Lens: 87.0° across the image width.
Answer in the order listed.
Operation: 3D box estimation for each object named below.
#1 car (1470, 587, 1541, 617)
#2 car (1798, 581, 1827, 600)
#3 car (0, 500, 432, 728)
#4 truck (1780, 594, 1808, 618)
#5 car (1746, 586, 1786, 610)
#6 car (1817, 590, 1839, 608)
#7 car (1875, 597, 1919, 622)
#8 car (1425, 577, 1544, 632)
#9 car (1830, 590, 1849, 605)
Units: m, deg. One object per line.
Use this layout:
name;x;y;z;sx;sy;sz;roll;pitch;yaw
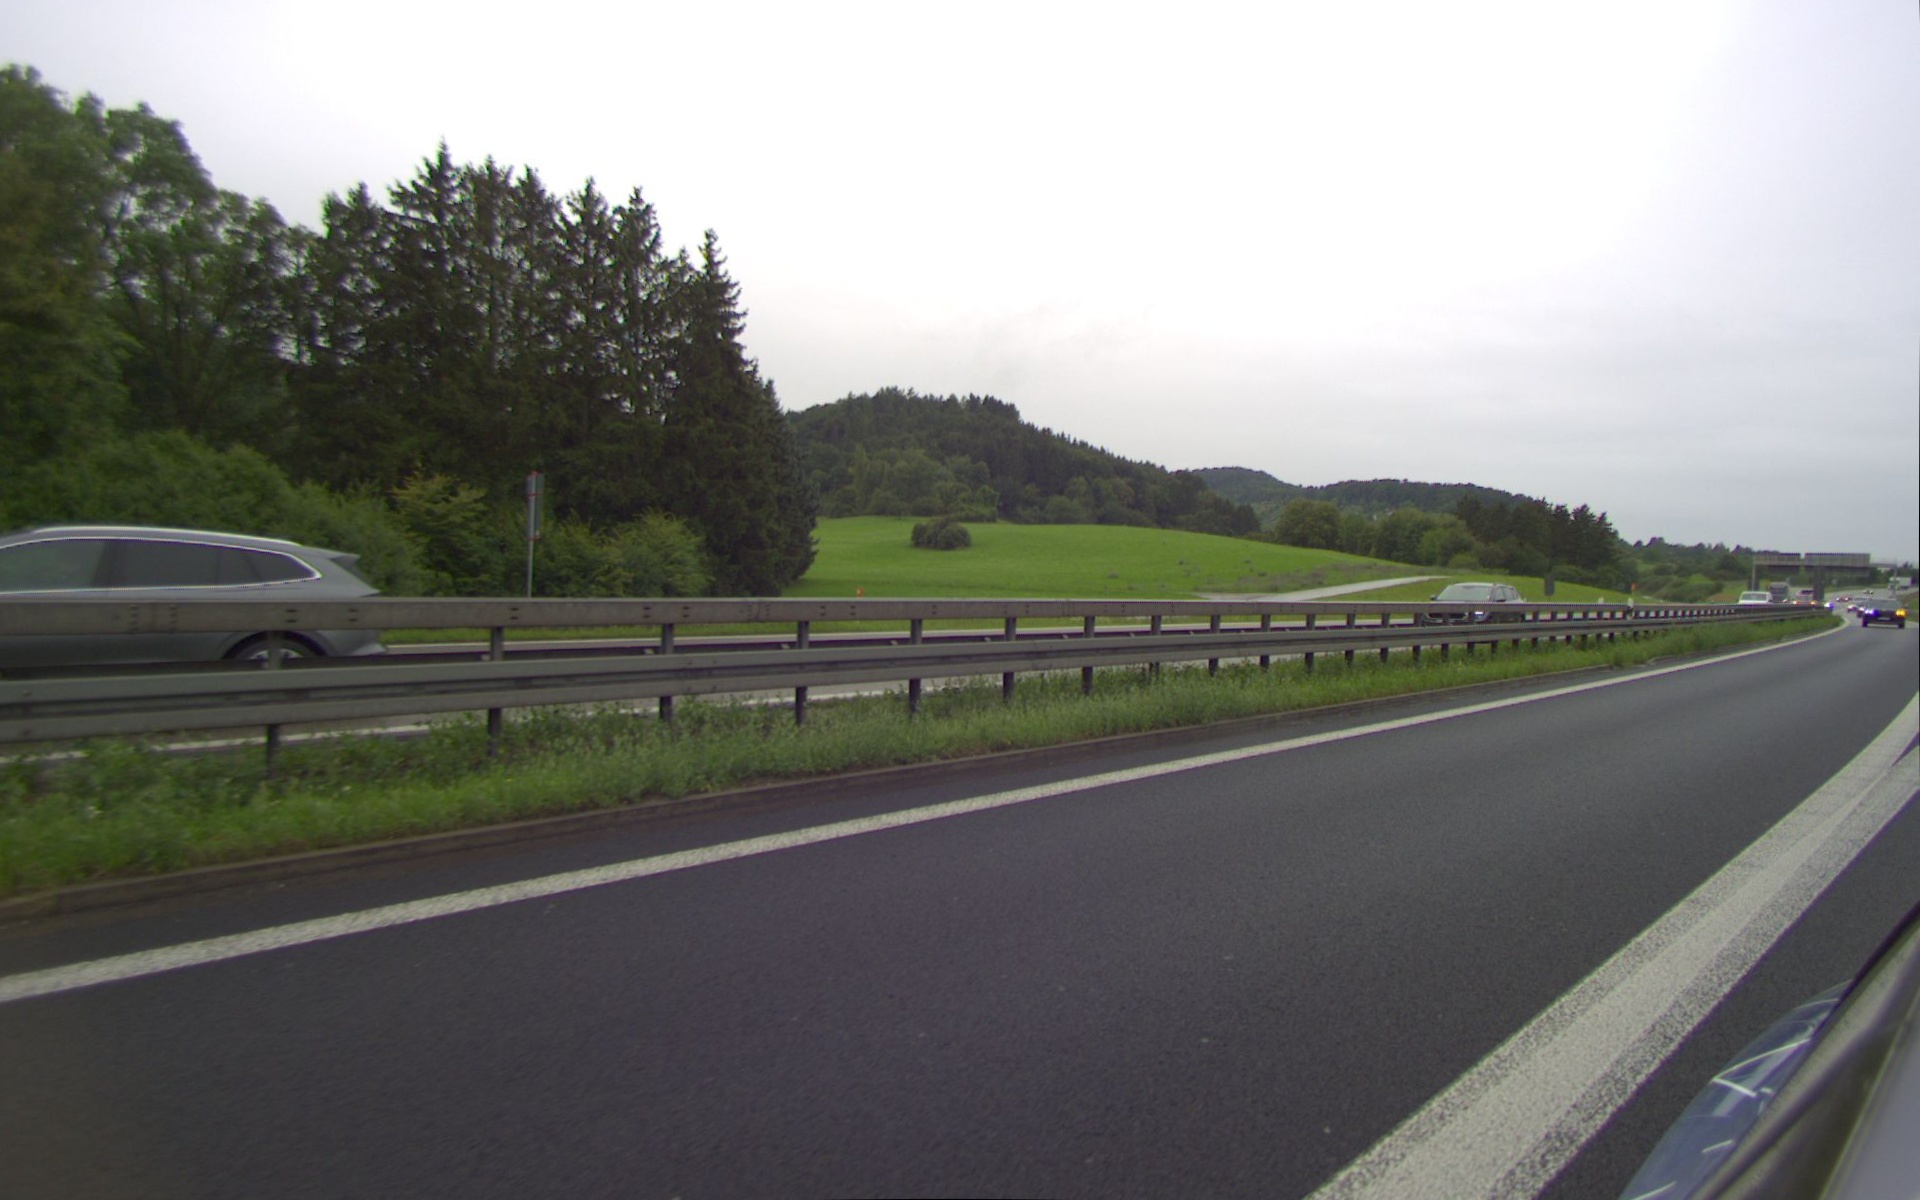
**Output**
car;27.847;0.063;51.609;4.633;1.473;1.900;-1;1;-44
car;91.371;-1.008;108.442;2.124;2.039;4.999;1;1;43
car;-7.056;0.082;8.293;4.565;1.630;1.772;0;1;-43
truck;140.308;0.938;170.304;2.792;3.949;9.868;1;1;44
car;59.863;-0.180;75.155;1.909;1.715;4.644;1;1;44
car;104.714;-0.159;122.066;1.822;2.049;3.939;1;1;42
car;55.496;0.556;59.914;1.861;1.374;4.499;1;1;41
car;14.450;0.088;27.792;4.057;1.400;1.668;0;1;-43
car;119.735;-0.329;137.763;1.822;2.049;3.939;1;1;42
